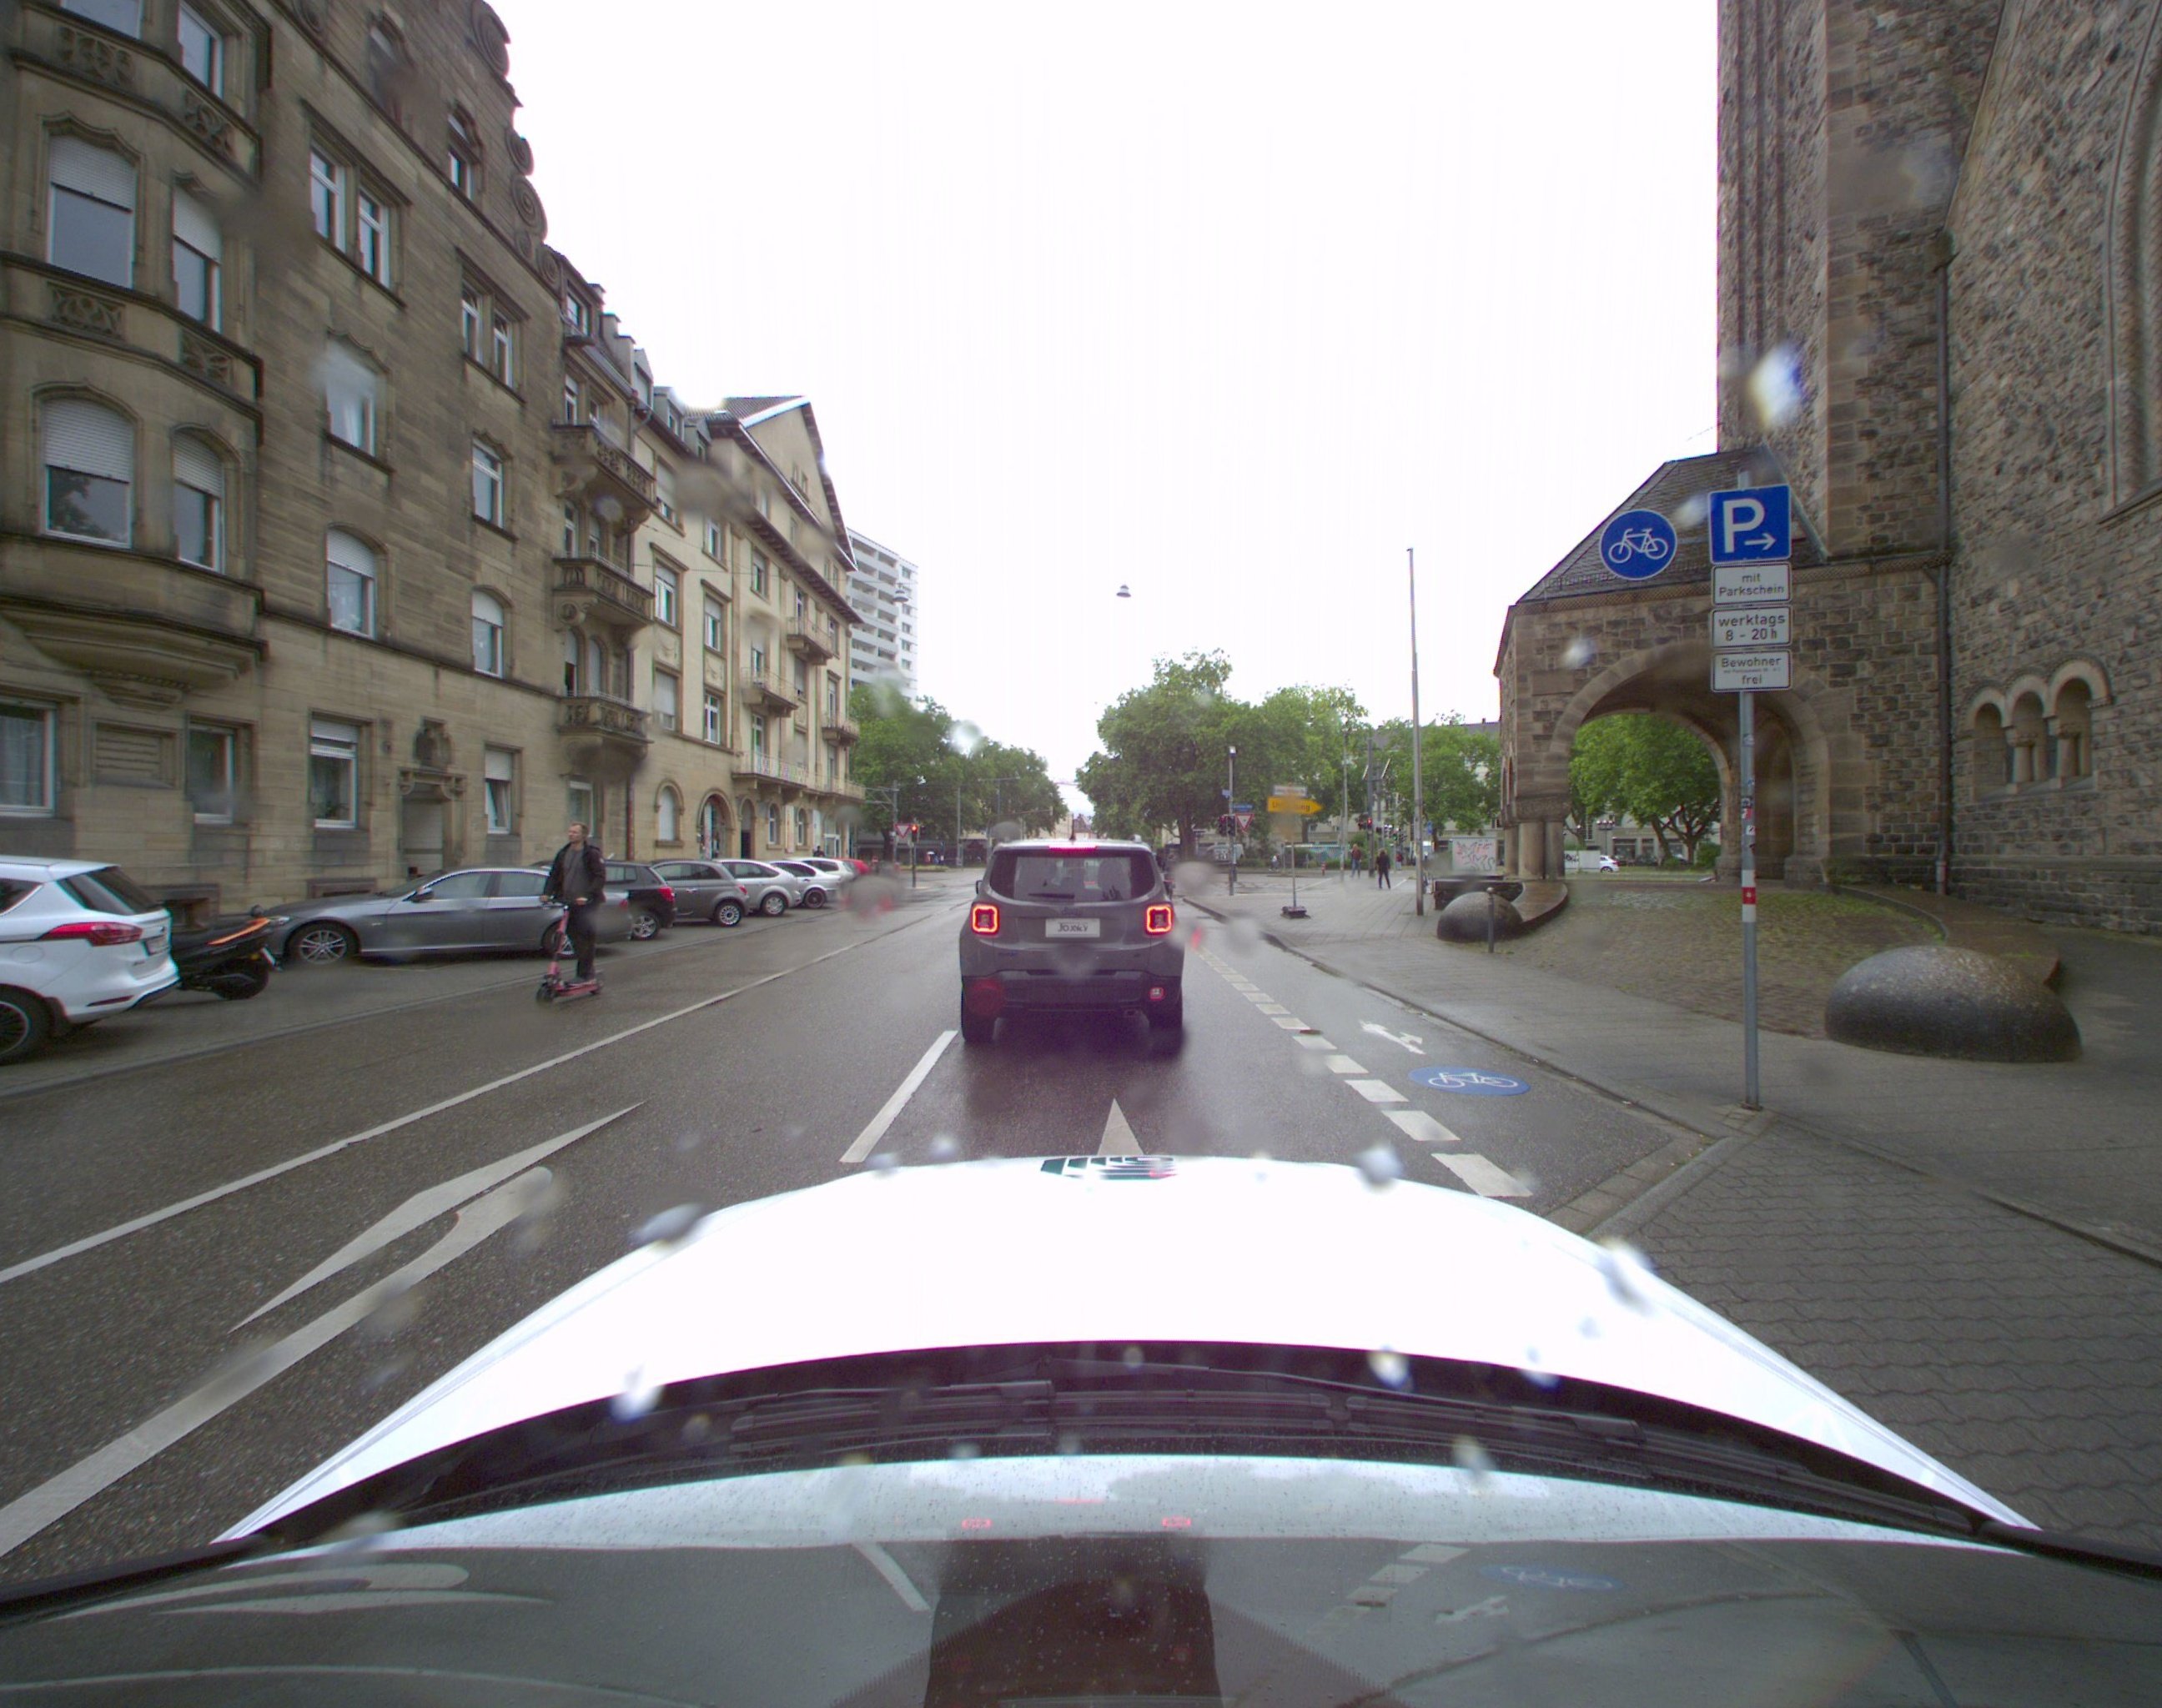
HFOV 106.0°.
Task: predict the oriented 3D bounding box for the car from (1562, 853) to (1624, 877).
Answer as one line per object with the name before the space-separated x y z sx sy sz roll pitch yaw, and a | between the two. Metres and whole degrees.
car | 34.333 0.750 54.675 3.404 1.552 1.603 -1 0 27

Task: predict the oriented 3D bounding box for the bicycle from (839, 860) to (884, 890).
bicycle | -9.526 0.921 35.331 1.804 1.266 0.498 -1 0 0

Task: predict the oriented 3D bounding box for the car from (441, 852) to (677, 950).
car | -9.672 0.784 15.230 3.570 1.598 1.587 0 0 -38

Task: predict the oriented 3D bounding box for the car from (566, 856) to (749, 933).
car | -9.462 0.833 18.280 3.419 1.558 1.634 0 0 -38

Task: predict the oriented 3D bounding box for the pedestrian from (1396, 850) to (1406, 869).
pedestrian | 26.232 0.449 66.800 0.667 1.554 0.766 -1 -2 30

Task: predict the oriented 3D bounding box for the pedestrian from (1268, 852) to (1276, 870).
pedestrian | 16.311 0.595 69.578 0.607 1.603 0.497 -1 0 26

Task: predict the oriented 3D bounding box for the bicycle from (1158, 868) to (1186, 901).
bicycle | 3.148 1.048 28.421 0.689 1.021 2.658 -1 0 1

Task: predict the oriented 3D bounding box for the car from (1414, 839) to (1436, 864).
car | 35.868 -0.262 84.799 1.889 2.555 4.815 -1 0 25

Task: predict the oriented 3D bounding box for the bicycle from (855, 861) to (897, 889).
bicycle | -9.381 0.949 37.236 1.758 1.266 0.608 -1 0 0

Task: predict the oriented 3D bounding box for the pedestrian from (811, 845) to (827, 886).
pedestrian | -13.141 0.561 40.849 0.565 2.013 0.655 0 0 1

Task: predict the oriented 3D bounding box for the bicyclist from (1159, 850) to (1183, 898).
bicyclist | 3.144 0.686 28.507 0.684 1.617 0.884 -1 0 0

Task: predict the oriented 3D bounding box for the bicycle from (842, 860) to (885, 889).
bicycle | -9.714 0.908 36.366 1.758 1.266 0.608 -1 0 0

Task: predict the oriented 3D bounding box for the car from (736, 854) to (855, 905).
car | -9.542 0.806 27.294 3.419 1.558 1.686 0 0 -38

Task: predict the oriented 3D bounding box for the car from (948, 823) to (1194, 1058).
car | -0.039 0.636 7.916 1.769 1.687 3.848 -1 0 1

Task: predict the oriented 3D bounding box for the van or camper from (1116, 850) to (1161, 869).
van or camper | 8.852 0.814 126.392 6.465 2.912 2.509 -1 0 28

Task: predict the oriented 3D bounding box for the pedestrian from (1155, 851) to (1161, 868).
pedestrian | 8.936 0.627 94.460 0.646 2.013 0.484 -1 0 14

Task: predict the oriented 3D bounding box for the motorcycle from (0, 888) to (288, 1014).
motorcycle | -9.541 0.943 8.368 1.880 1.162 0.627 2 -2 -36

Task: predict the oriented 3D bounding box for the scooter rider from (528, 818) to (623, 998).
scooter rider | -5.632 0.587 9.092 0.708 1.935 0.503 -1 0 -1

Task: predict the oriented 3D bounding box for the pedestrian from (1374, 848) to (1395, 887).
pedestrian | 13.166 0.574 35.322 0.776 1.645 0.659 -1 0 24

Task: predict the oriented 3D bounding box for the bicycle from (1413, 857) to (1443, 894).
bicycle | 11.190 0.676 26.333 0.327 1.154 2.079 -1 0 7

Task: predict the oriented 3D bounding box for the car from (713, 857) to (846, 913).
car | -9.065 0.872 24.584 3.419 1.558 1.686 0 0 -38

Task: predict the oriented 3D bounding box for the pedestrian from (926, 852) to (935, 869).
pedestrian | -15.627 0.678 84.707 0.686 1.826 0.623 -1 0 17

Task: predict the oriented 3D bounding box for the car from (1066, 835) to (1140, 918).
car | 0.590 0.548 21.778 1.764 2.013 4.001 -1 0 1

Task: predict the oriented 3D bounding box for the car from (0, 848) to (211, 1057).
car | -9.572 0.766 6.026 4.064 1.555 1.778 -1 0 -39

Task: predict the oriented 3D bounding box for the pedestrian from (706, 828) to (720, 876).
pedestrian | -14.241 -0.067 31.492 0.365 1.823 0.347 -1 -1 -1

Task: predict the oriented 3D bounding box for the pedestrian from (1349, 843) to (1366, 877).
pedestrian | 14.911 0.318 43.940 0.780 1.759 0.949 -1 0 16

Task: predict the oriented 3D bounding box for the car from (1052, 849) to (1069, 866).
car | -2.207 0.385 87.053 1.717 1.739 3.727 0 0 -2

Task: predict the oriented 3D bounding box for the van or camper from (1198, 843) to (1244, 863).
van or camper | 16.476 -0.087 96.300 5.234 2.315 2.093 0 0 5

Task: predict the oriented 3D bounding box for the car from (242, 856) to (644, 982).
car | -9.371 0.826 12.367 4.573 1.545 1.668 -1 0 -42

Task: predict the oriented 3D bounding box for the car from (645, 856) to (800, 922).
car | -9.330 0.849 21.286 3.419 1.558 1.686 0 0 -38

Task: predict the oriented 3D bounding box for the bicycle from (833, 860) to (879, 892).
bicycle | -9.417 0.919 34.097 1.758 1.266 0.522 -1 0 0

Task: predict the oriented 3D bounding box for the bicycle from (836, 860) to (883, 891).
bicycle | -9.418 0.911 34.644 1.804 1.266 0.498 -1 0 0

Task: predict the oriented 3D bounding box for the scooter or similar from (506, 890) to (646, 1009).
scooter or similar | -5.628 1.024 9.171 0.698 1.165 1.385 -1 0 -1

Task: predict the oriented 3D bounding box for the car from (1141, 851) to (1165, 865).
car | 10.731 0.576 121.278 3.411 2.014 1.554 -1 -1 15

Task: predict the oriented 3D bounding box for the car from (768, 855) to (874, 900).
car | -9.659 0.833 30.359 3.419 1.558 1.686 0 0 -38
